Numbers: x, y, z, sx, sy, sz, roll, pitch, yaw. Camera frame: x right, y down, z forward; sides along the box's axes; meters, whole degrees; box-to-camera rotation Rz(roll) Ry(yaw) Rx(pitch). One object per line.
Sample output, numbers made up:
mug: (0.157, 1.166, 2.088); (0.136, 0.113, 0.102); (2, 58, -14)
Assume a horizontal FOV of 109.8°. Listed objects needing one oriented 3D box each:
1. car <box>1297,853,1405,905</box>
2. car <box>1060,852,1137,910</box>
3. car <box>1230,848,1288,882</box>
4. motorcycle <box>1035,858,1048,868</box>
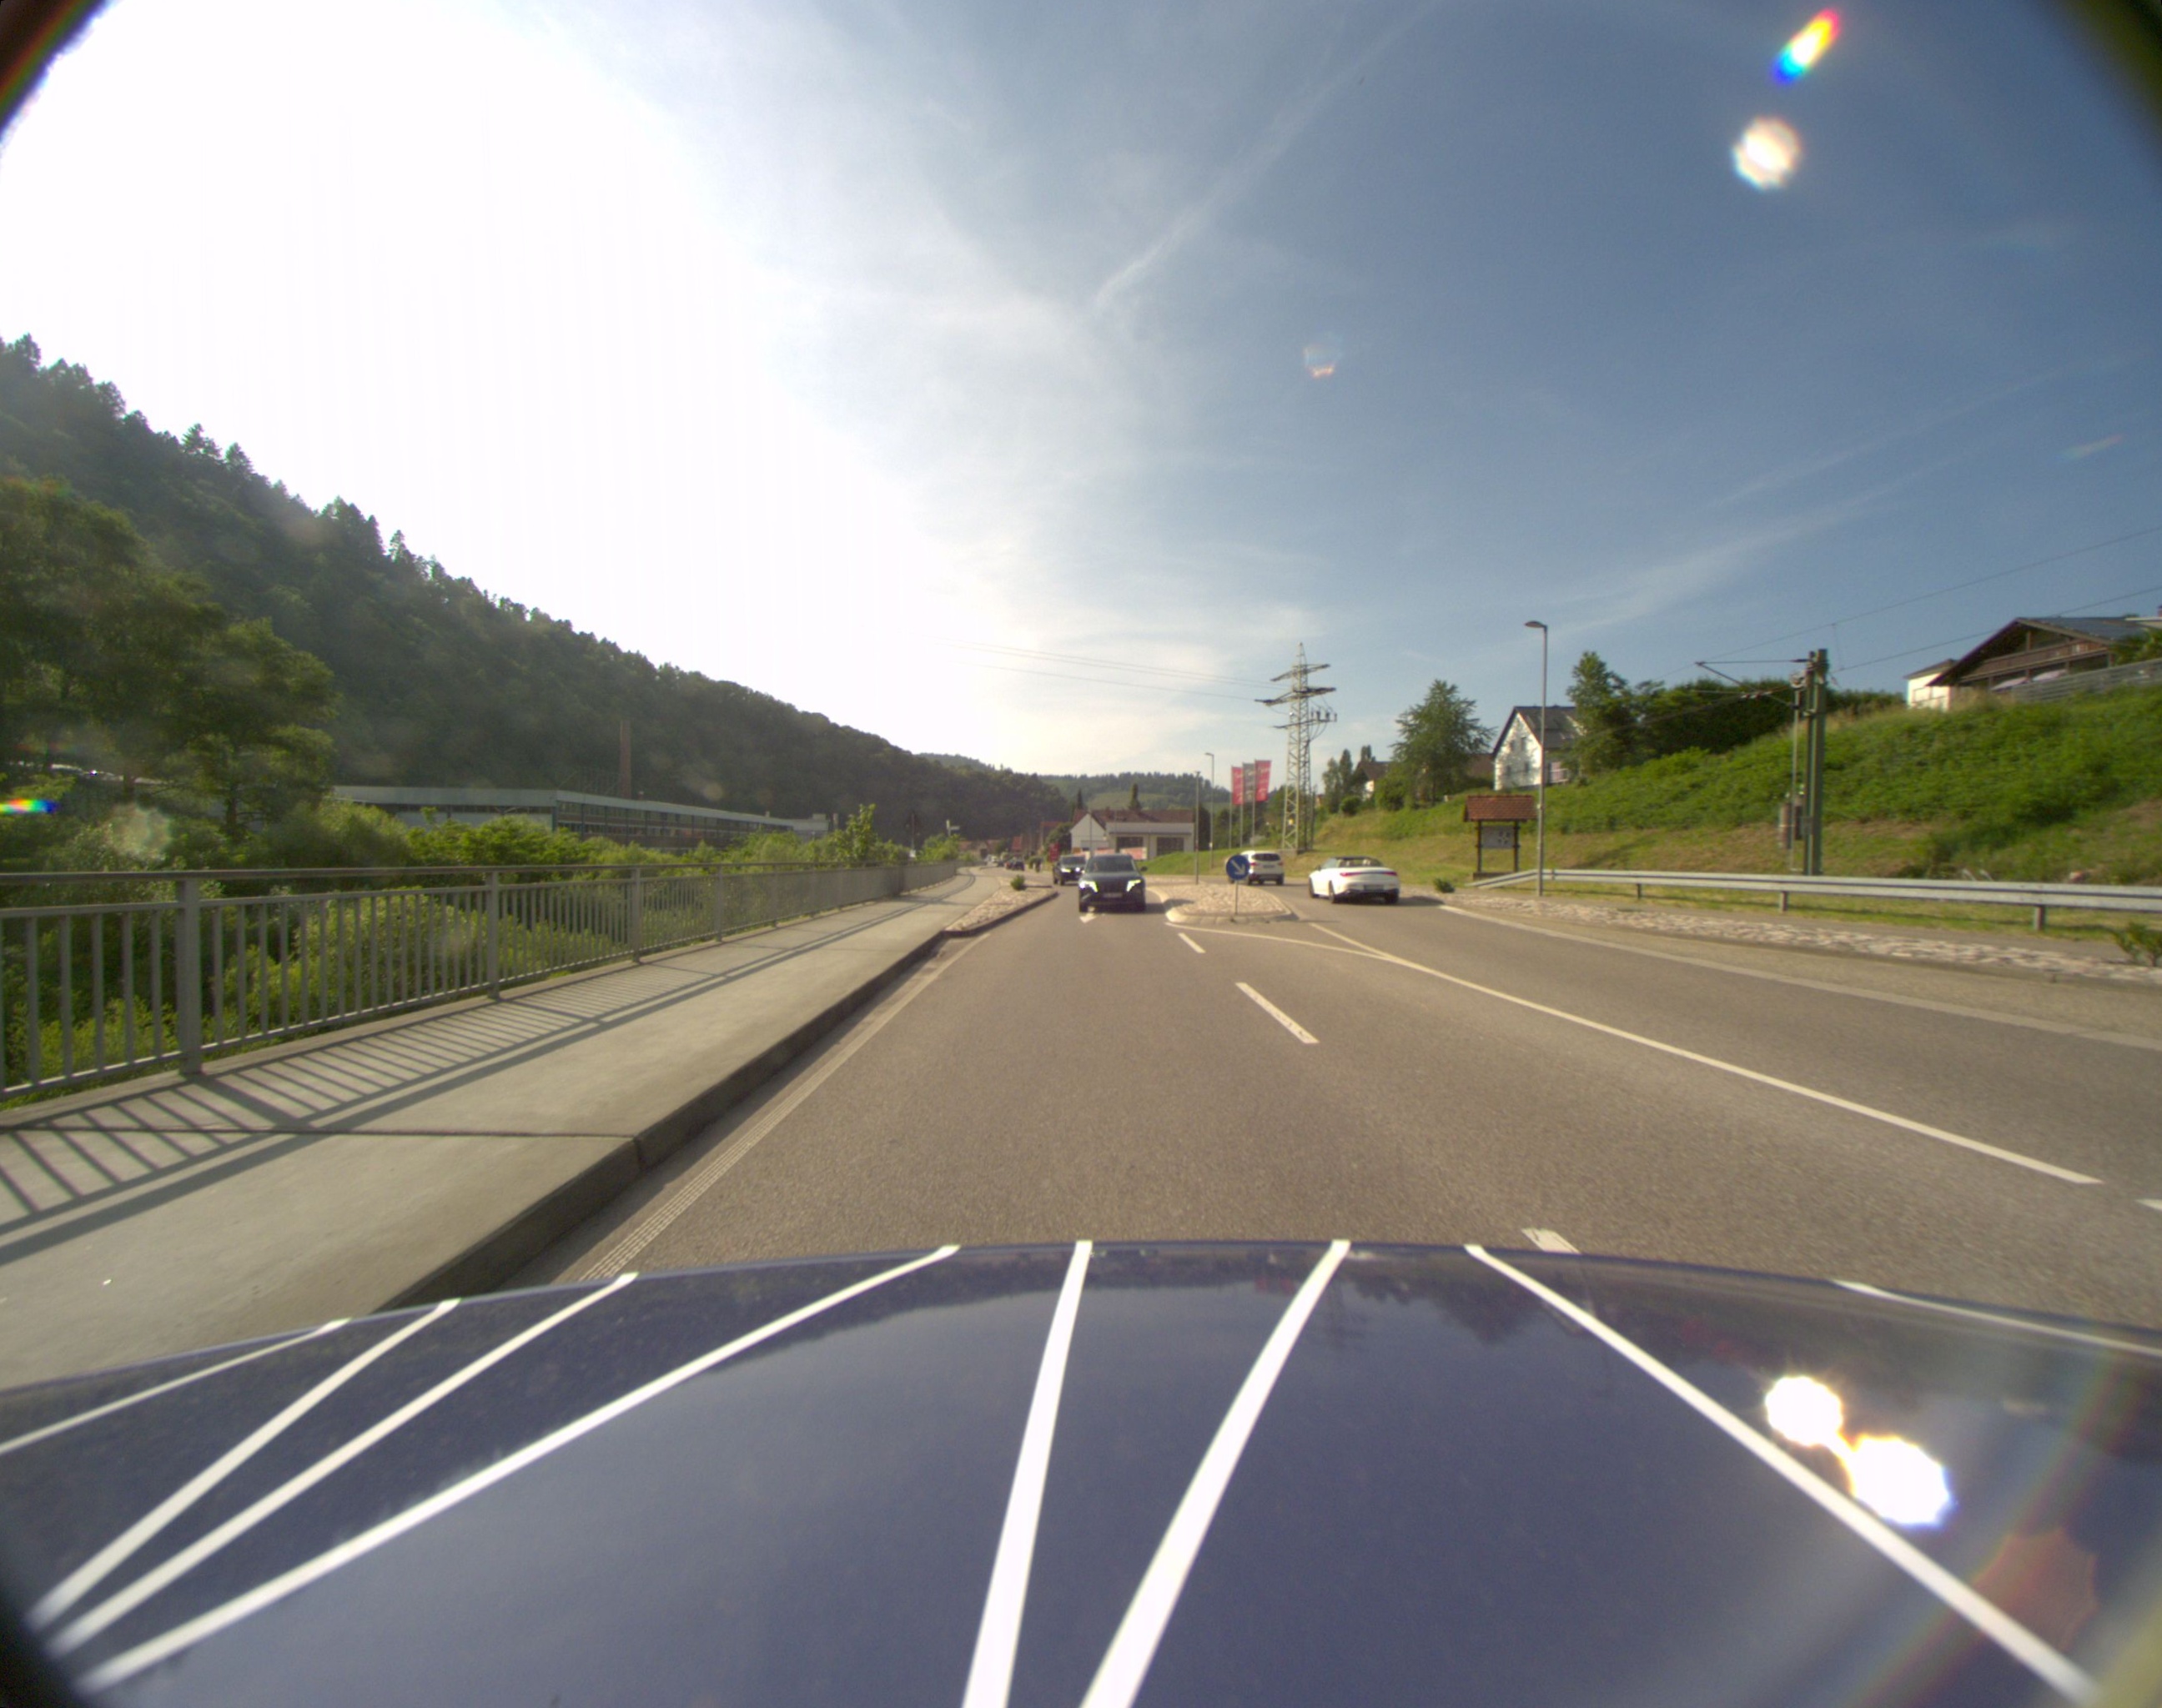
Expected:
car: (8.148, 0.690, 23.394); (1.786, 1.391, 4.828); (-1, 0, 3)
car: (0.463, 0.797, 24.196); (1.650, 1.639, 3.996); (-2, 0, -10)
car: (8.597, 0.498, 37.022); (1.769, 1.551, 3.999); (-1, 0, -2)
motorcycle: (-4.878, 1.117, 94.358); (0.898, 1.177, 2.302); (-5, 1, -21)
